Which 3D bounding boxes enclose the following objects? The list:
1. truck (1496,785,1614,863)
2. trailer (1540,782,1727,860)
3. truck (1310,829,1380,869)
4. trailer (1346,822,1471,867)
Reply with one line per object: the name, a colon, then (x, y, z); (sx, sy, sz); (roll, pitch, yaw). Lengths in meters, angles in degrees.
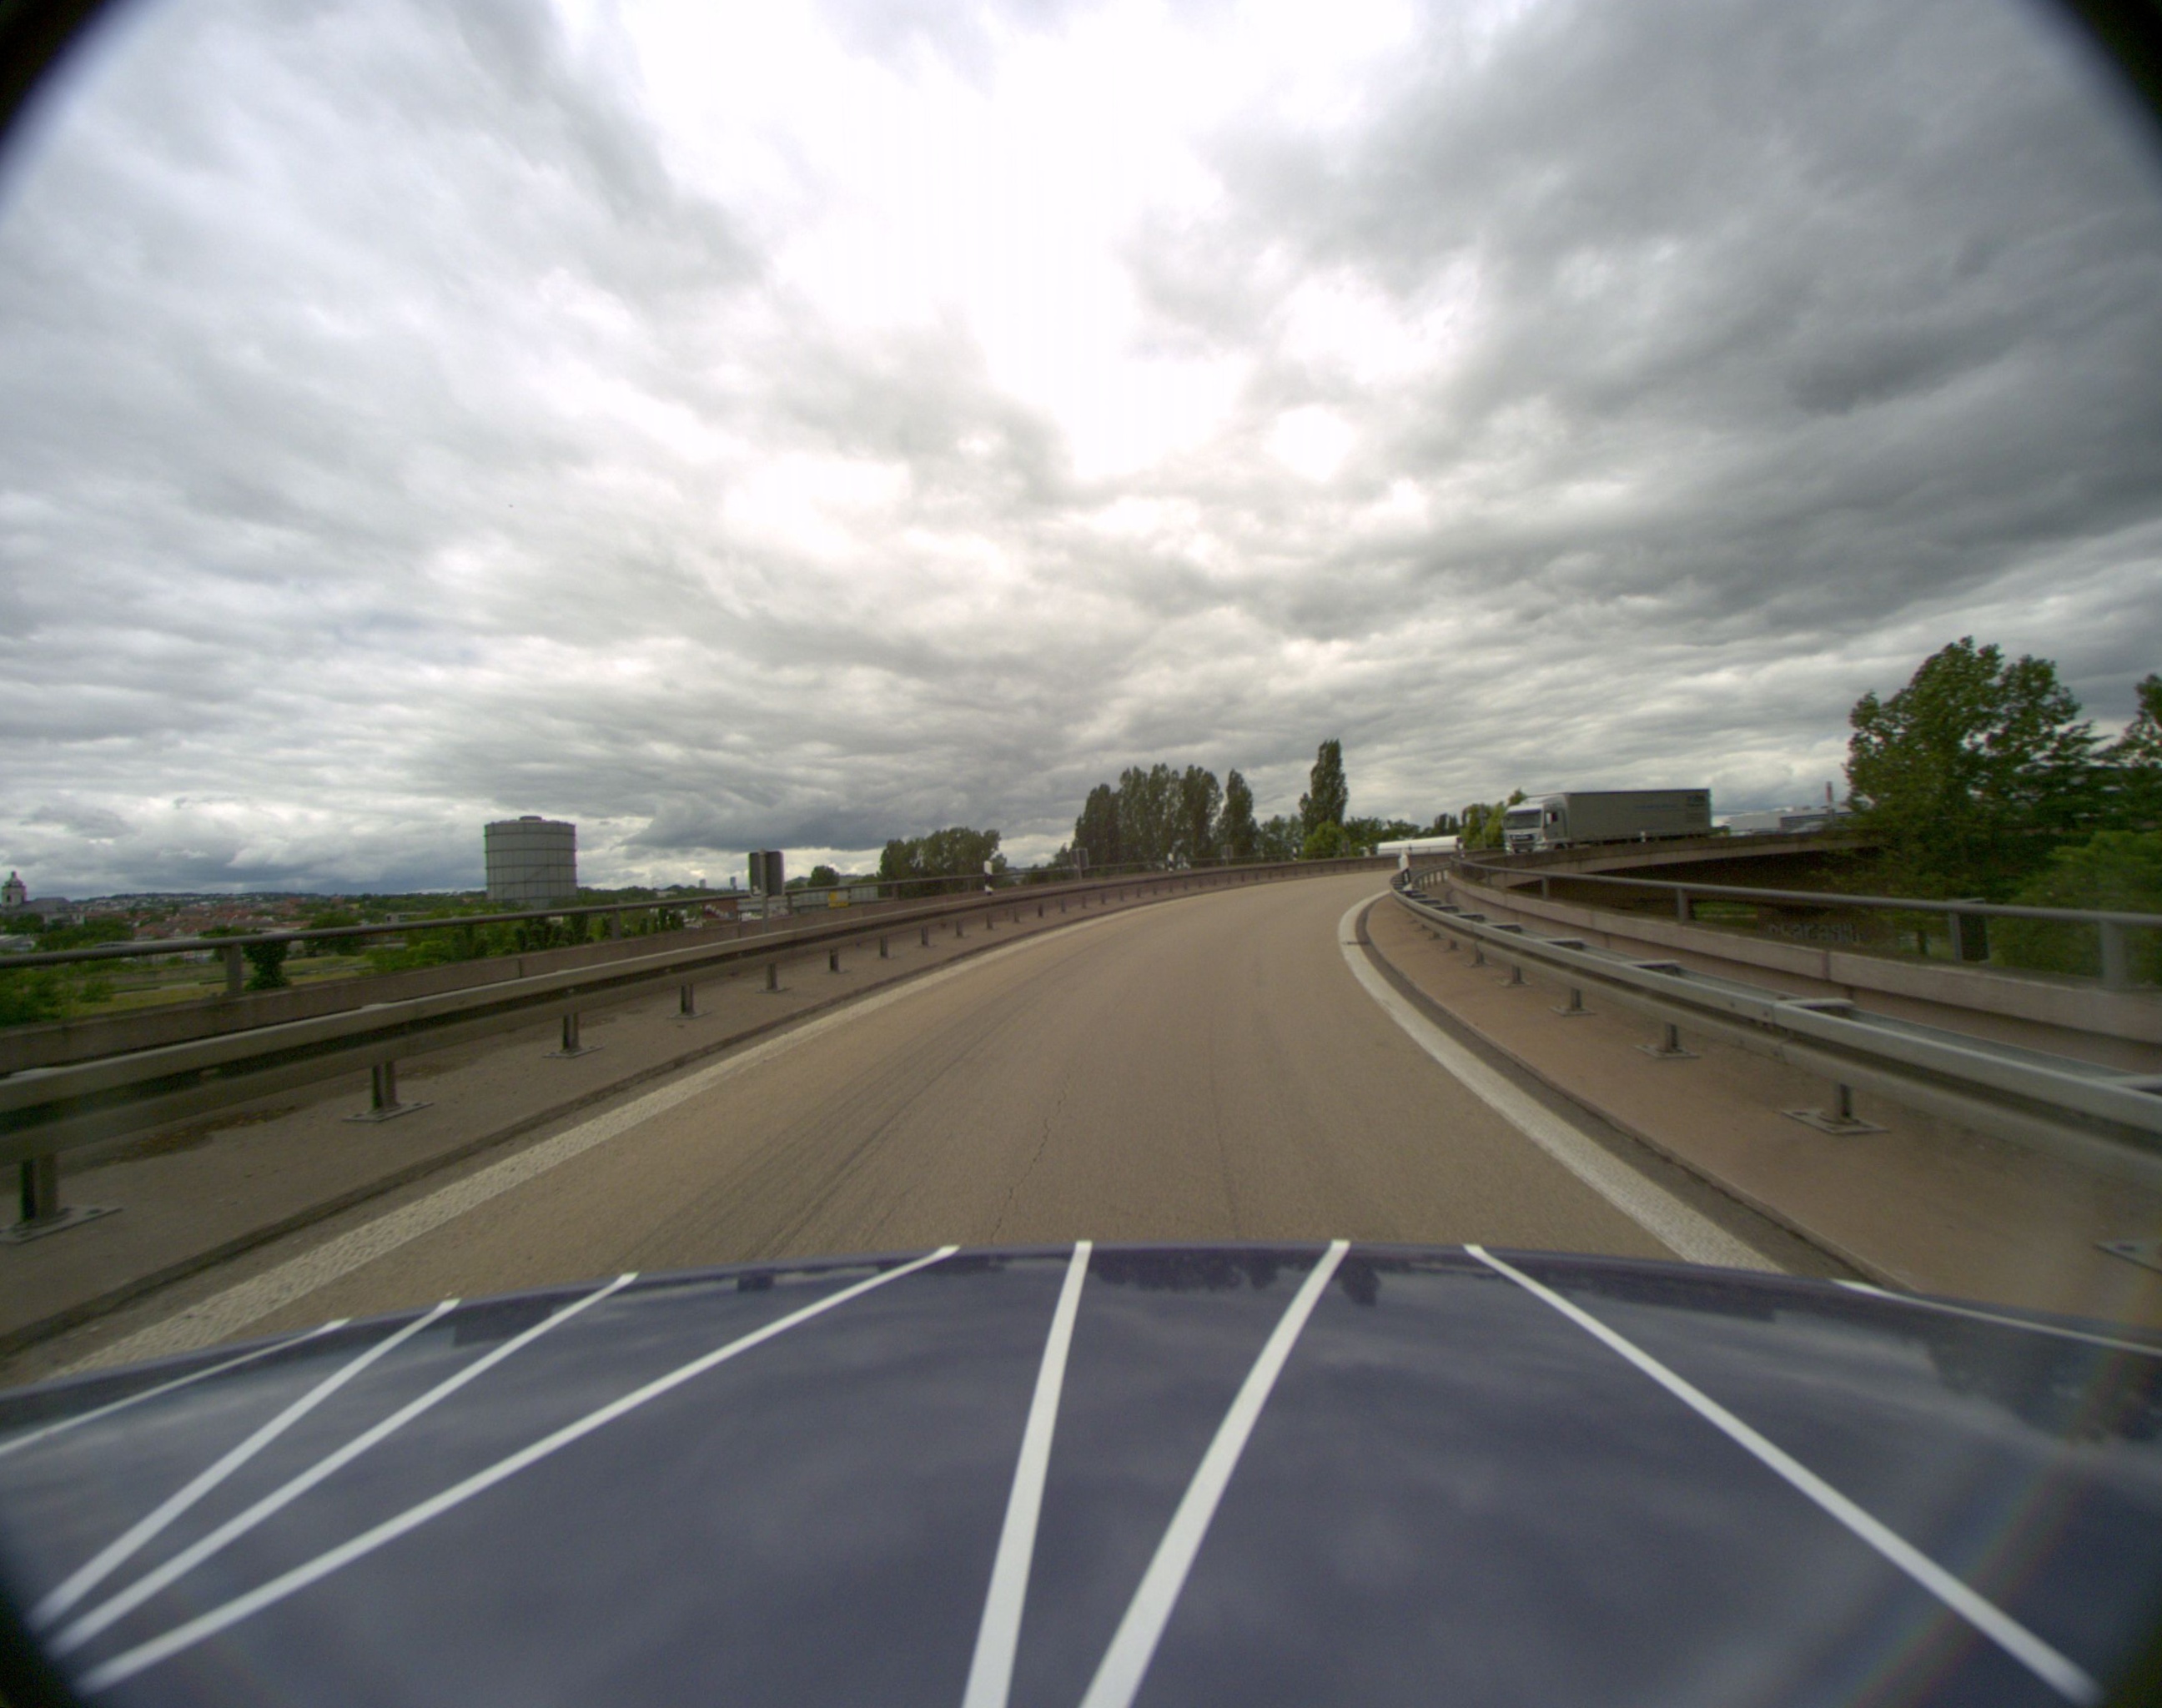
truck: (28.128, -1.774, 45.056); (6.207, 4.203, 2.732); (-3, 0, -24)
trailer: (35.084, -2.155, 48.052); (13.460, 4.212, 2.745); (-3, 0, -22)
truck: (26.826, -0.501, 77.235); (6.186, 3.624, 2.741); (-4, -1, 25)
trailer: (32.050, -0.825, 74.722); (10.980, 3.628, 2.753); (-4, -1, 24)
